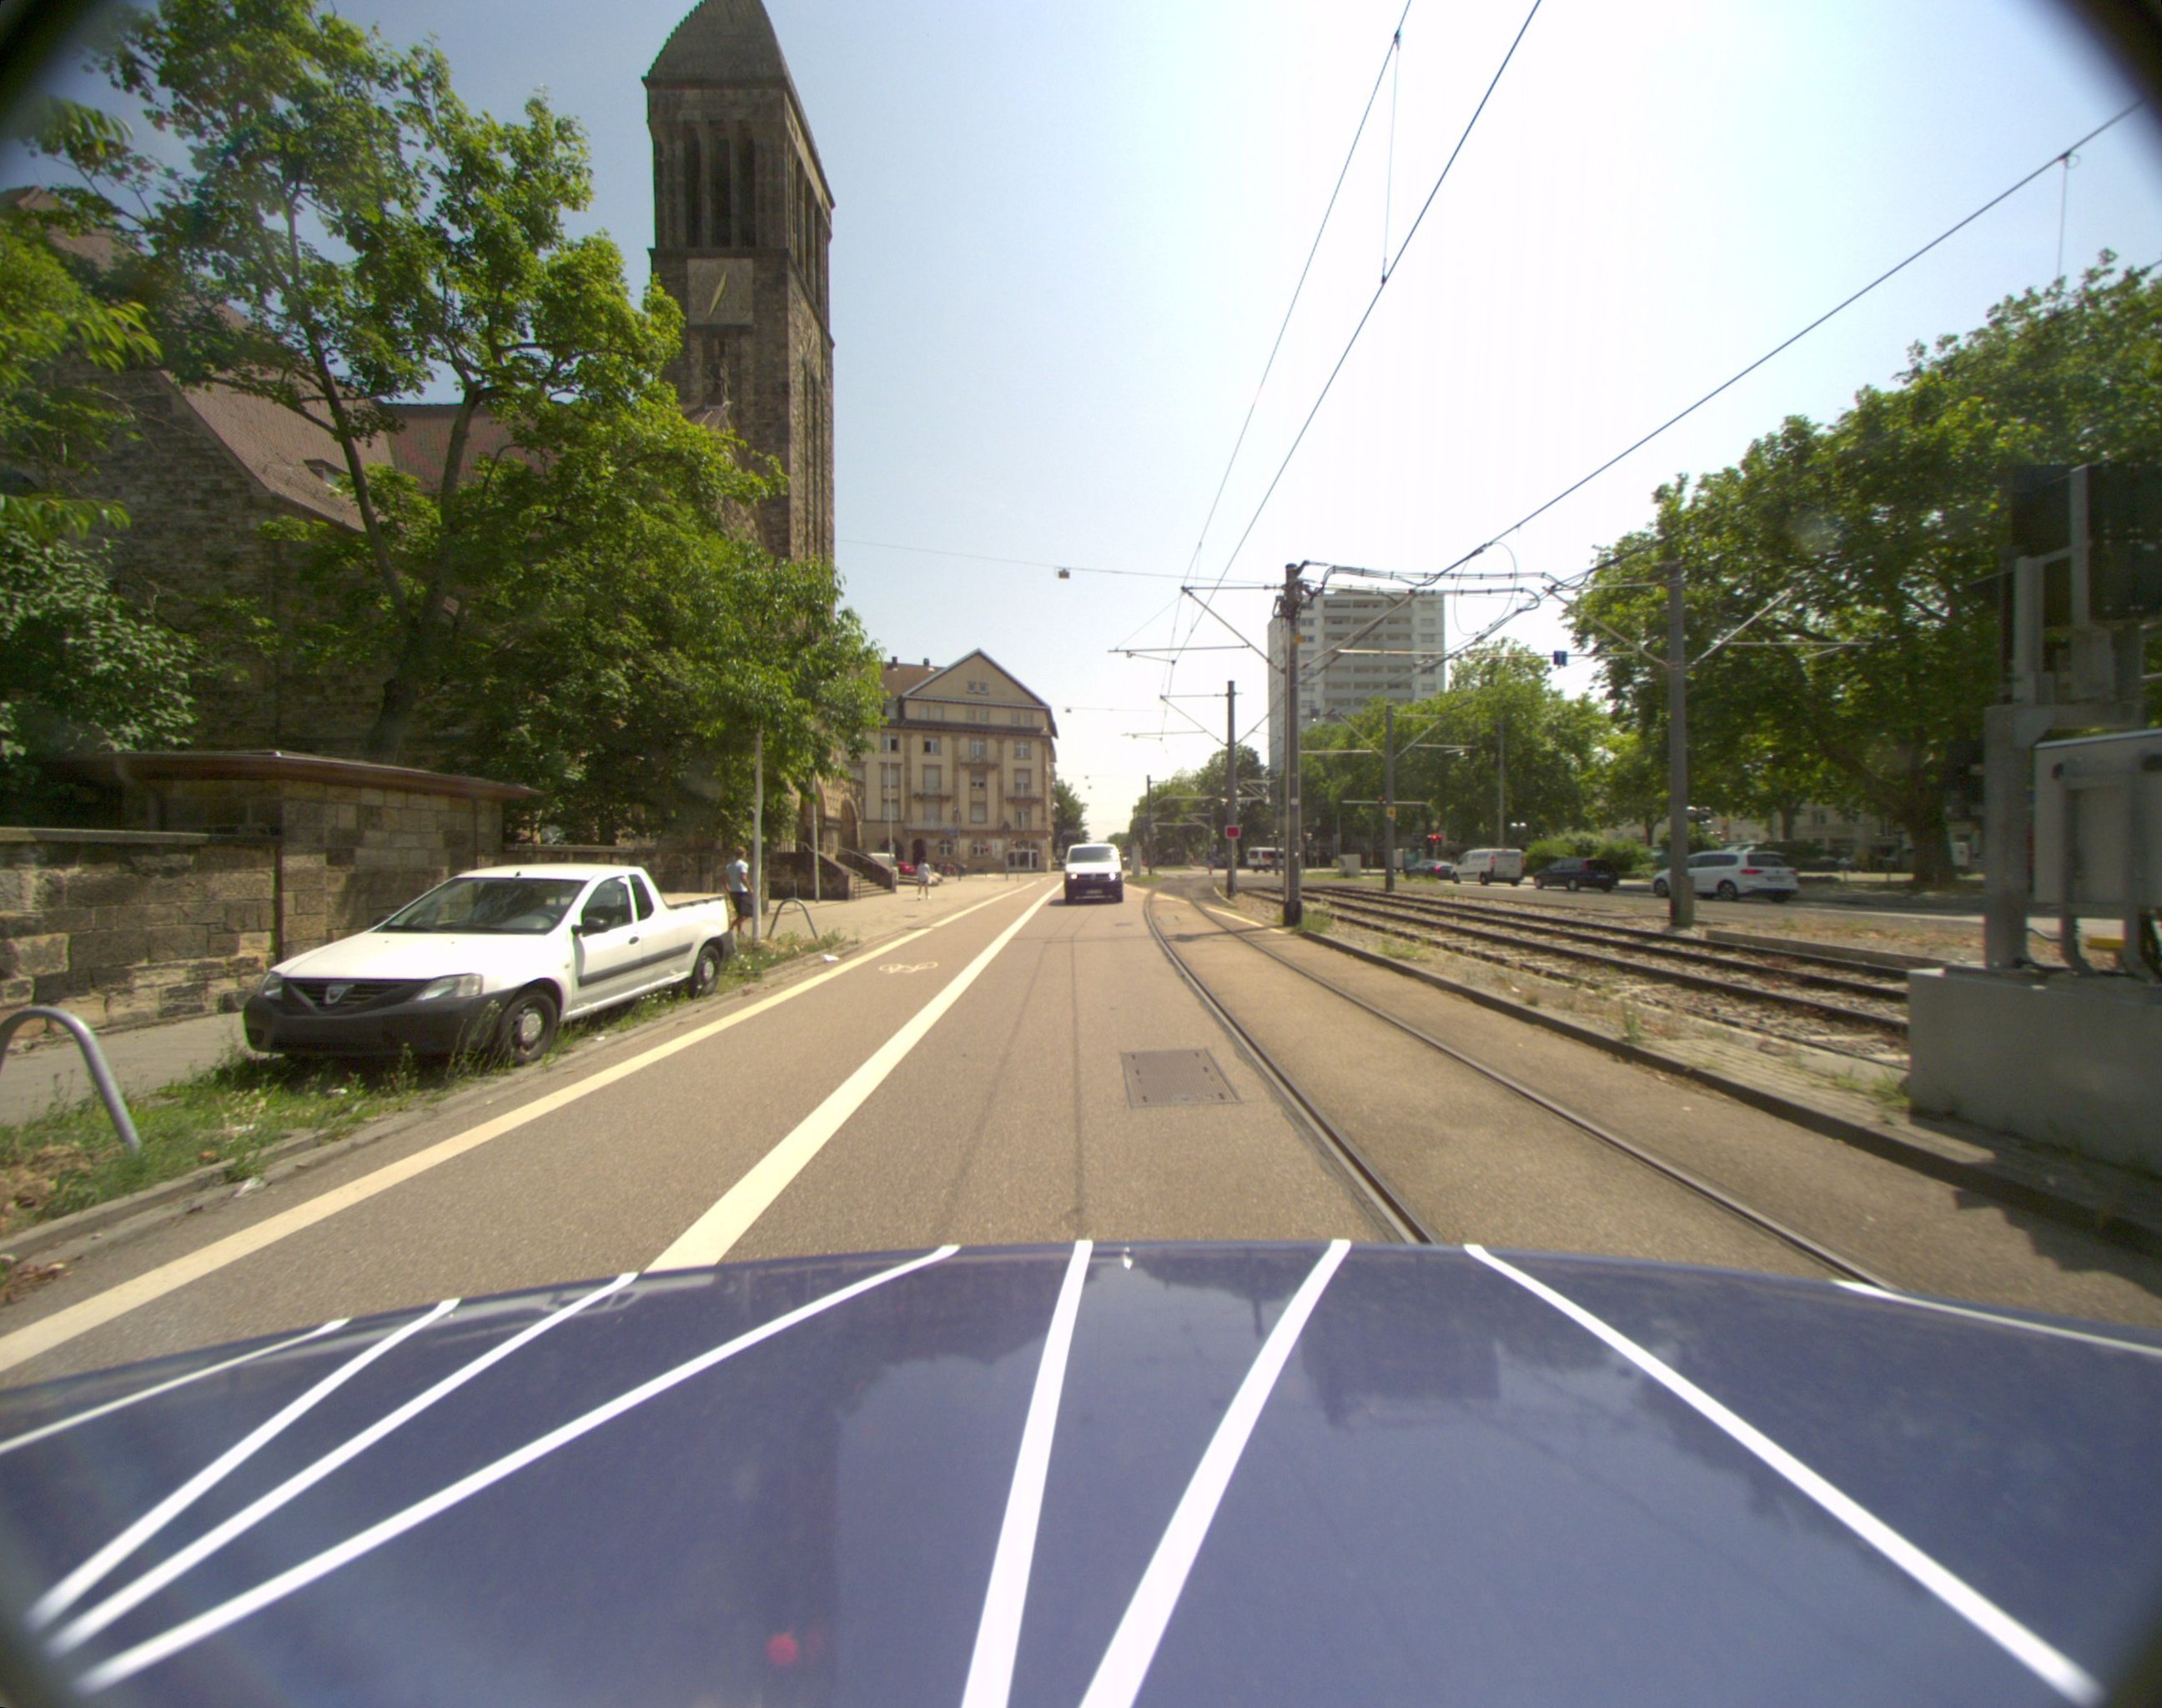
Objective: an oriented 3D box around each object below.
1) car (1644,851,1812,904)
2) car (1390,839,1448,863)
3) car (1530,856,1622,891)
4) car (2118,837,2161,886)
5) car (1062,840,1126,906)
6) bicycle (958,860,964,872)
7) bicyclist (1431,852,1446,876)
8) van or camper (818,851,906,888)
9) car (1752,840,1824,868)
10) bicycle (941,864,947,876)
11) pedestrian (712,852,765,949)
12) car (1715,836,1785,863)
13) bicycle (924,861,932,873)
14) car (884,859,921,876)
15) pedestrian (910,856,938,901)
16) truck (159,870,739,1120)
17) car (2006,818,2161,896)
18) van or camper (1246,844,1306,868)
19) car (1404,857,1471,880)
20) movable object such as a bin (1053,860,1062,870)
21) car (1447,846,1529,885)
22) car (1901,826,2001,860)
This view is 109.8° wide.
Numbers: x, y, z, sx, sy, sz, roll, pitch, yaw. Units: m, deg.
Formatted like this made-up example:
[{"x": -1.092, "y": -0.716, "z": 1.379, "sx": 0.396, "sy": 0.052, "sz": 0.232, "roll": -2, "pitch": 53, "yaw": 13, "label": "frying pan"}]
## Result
[{"x": 21.686, "y": 0.716, "z": 25.773, "sx": 1.851, "sy": 1.616, "sz": 4.602, "roll": 1, "pitch": 0, "yaw": 1, "label": "car"}, {"x": 38.682, "y": -0.324, "z": 86.935, "sx": 6.641, "sy": 2.622, "sz": 2.073, "roll": -1, "pitch": 0, "yaw": -23, "label": "car"}, {"x": 21.735, "y": 0.823, "z": 33.525, "sx": 1.600, "sy": 1.412, "sz": 3.782, "roll": 1, "pitch": 0, "yaw": 0, "label": "car"}, {"x": 38.651, "y": 0.239, "z": 25.587, "sx": 1.998, "sy": 1.710, "sz": 4.000, "roll": -1, "pitch": 0, "yaw": 0, "label": "car"}, {"x": 0.433, "y": 0.554, "z": 24.921, "sx": 1.852, "sy": 1.942, "sz": 4.943, "roll": -1, "pitch": 0, "yaw": 1, "label": "car"}, {"x": -12.357, "y": 1.187, "z": 78.156, "sx": 0.565, "sy": 1.145, "sz": 1.803, "roll": -1, "pitch": 1, "yaw": -10, "label": "bicycle"}, {"x": 24.805, "y": 0.702, "z": 52.716, "sx": 0.640, "sy": 1.676, "sz": 0.868, "roll": -1, "pitch": 0, "yaw": -3, "label": "bicyclist"}, {"x": -11.290, "y": 0.820, "z": 39.356, "sx": 3.997, "sy": 1.814, "sz": 1.803, "roll": 1, "pitch": -2, "yaw": -1, "label": "van or camper"}, {"x": 55.874, "y": -0.004, "z": 60.135, "sx": 1.998, "sy": 2.071, "sz": 4.000, "roll": -1, "pitch": 0, "yaw": 0, "label": "car"}, {"x": -13.990, "y": 1.663, "z": 77.437, "sx": 0.565, "sy": 1.145, "sz": 1.803, "roll": -1, "pitch": 1, "yaw": -10, "label": "bicycle"}, {"x": -6.360, "y": 0.844, "z": 14.124, "sx": 0.622, "sy": 1.744, "sz": 0.678, "roll": -1, "pitch": 0, "yaw": 2, "label": "pedestrian"}, {"x": 52.783, "y": -0.374, "z": 60.053, "sx": 1.998, "sy": 2.071, "sz": 4.000, "roll": 0, "pitch": 0, "yaw": 0, "label": "car"}, {"x": -15.160, "y": 1.274, "z": 75.193, "sx": 0.566, "sy": 1.145, "sz": 1.802, "roll": -1, "pitch": 1, "yaw": -19, "label": "bicycle"}, {"x": -17.281, "y": 1.322, "z": 73.496, "sx": 3.218, "sy": 1.471, "sz": 1.619, "roll": 1, "pitch": 3, "yaw": 26, "label": "car"}, {"x": -5.978, "y": 0.923, "z": 29.000, "sx": 0.795, "sy": 1.641, "sz": 0.967, "roll": -1, "pitch": 0, "yaw": 2, "label": "pedestrian"}, {"x": -5.147, "y": 0.975, "z": 7.222, "sx": 1.794, "sy": 1.517, "sz": 4.465, "roll": -1, "pitch": 0, "yaw": -1, "label": "truck"}, {"x": 34.060, "y": 0.059, "z": 24.684, "sx": 1.851, "sy": 2.379, "sz": 4.980, "roll": 0, "pitch": 1, "yaw": 0, "label": "car"}, {"x": 20.035, "y": 0.199, "z": 78.062, "sx": 5.909, "sy": 2.447, "sz": 2.070, "roll": 0, "pitch": 0, "yaw": -23, "label": "van or camper"}, {"x": 22.007, "y": 0.863, "z": 47.096, "sx": 1.952, "sy": 1.351, "sz": 4.628, "roll": 0, "pitch": 0, "yaw": -1, "label": "car"}, {"x": -3.460, "y": 1.551, "z": 109.880, "sx": 1.214, "sy": 1.427, "sz": 1.008, "roll": -1, "pitch": 0, "yaw": -4, "label": "movable object such as a bin"}, {"x": 21.857, "y": 0.575, "z": 41.054, "sx": 1.781, "sy": 1.979, "sz": 4.804, "roll": 0, "pitch": 0, "yaw": -1, "label": "car"}, {"x": 70.892, "y": -0.867, "z": 61.961, "sx": 5.706, "sy": 2.644, "sz": 2.108, "roll": -1, "pitch": 0, "yaw": 0, "label": "car"}]
